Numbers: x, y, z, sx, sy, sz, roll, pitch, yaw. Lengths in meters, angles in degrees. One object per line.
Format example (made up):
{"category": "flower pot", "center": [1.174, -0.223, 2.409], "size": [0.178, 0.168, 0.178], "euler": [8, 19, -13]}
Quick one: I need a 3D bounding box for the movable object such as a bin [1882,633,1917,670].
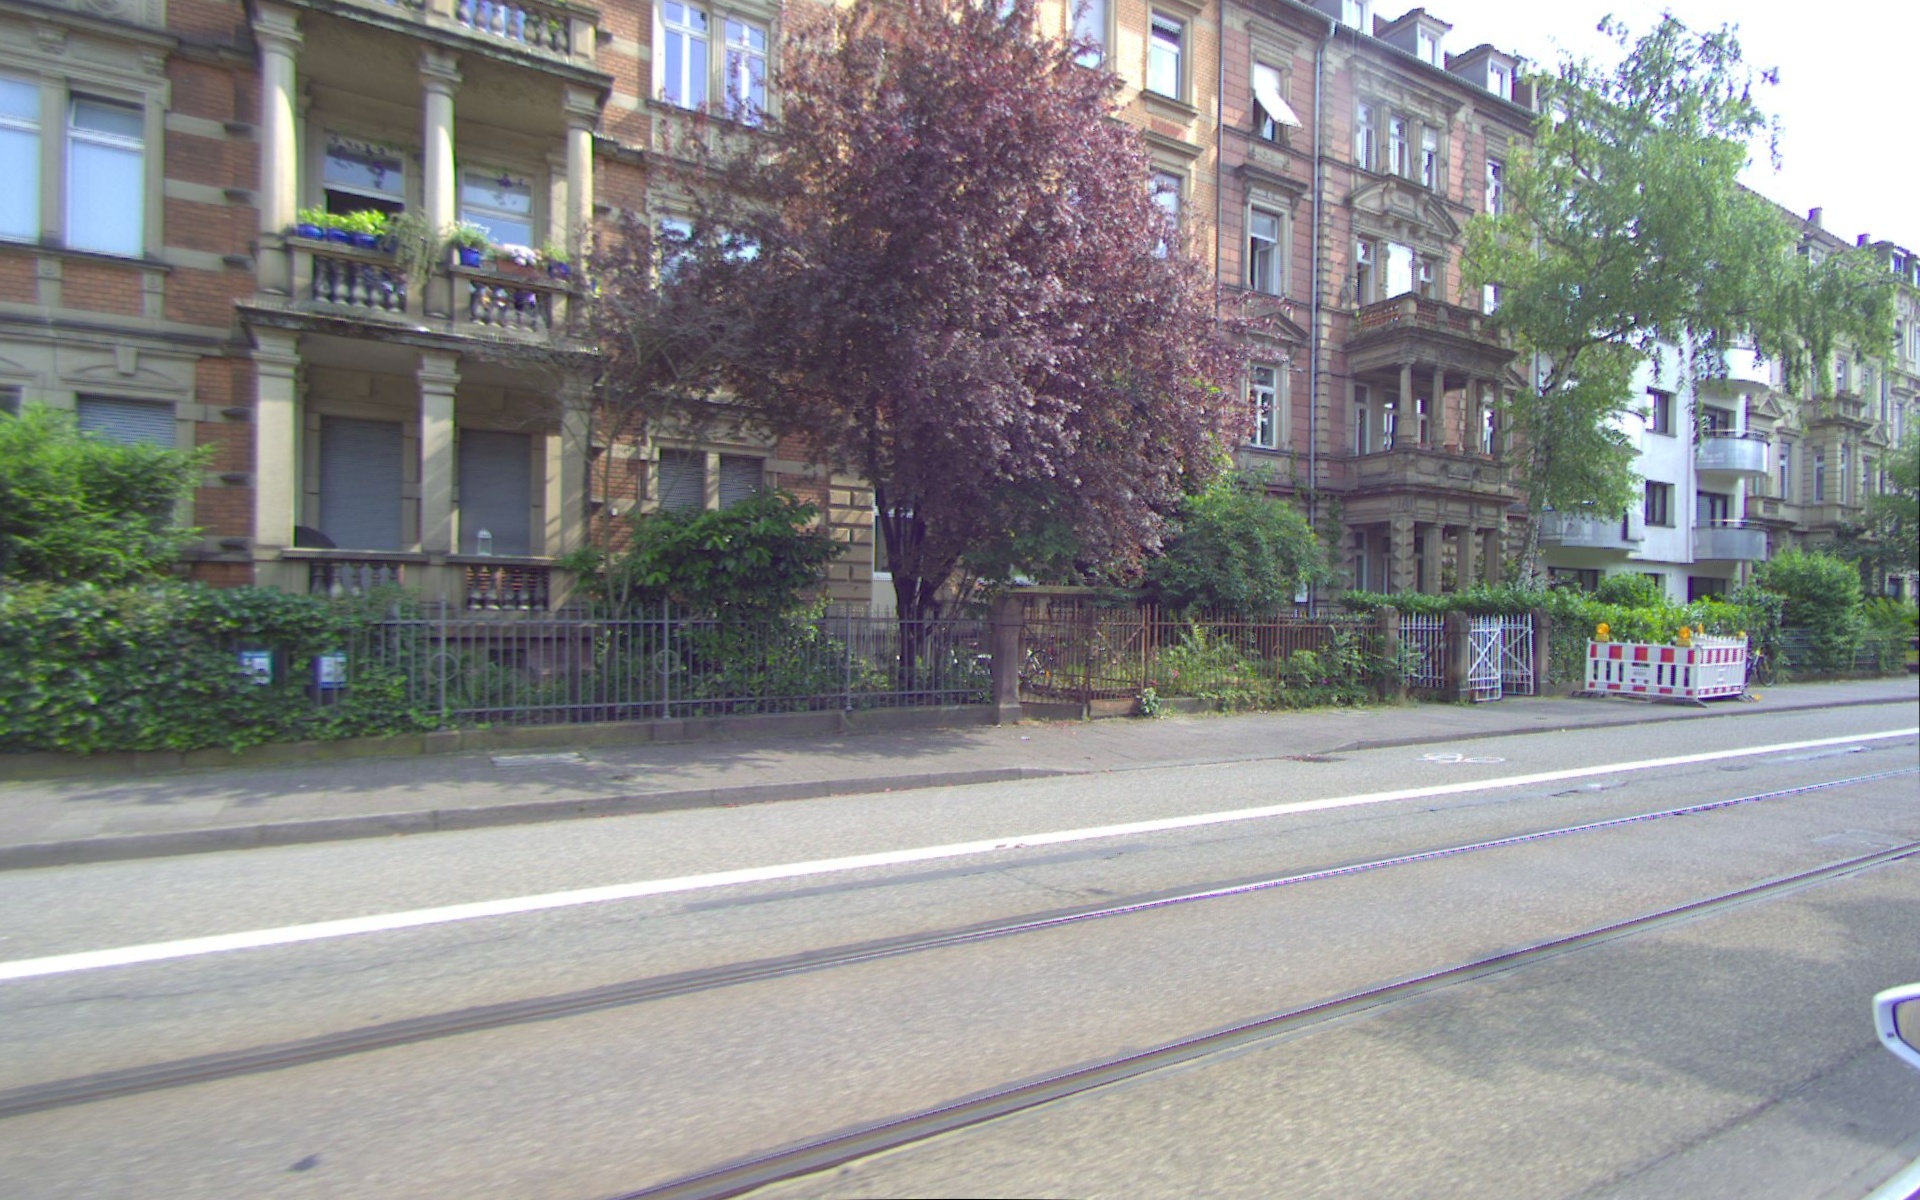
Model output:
{"category": "movable object such as a bin", "center": [29.247, 1.596, 31.264], "size": [0.726, 1.122, 0.663], "euler": [1, -1, -34]}

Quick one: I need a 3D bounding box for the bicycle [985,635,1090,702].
{"category": "bicycle", "center": [1.204, 1.062, 16.141], "size": [0.579, 0.949, 2.117], "euler": [1, -1, -30]}

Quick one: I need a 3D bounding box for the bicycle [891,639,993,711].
{"category": "bicycle", "center": [-0.308, 1.089, 15.104], "size": [0.579, 0.949, 2.117], "euler": [1, -1, -30]}

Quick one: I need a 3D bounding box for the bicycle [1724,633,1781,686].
{"category": "bicycle", "center": [18.091, 1.339, 22.920], "size": [1.798, 1.152, 0.410], "euler": [1, 0, -31]}
